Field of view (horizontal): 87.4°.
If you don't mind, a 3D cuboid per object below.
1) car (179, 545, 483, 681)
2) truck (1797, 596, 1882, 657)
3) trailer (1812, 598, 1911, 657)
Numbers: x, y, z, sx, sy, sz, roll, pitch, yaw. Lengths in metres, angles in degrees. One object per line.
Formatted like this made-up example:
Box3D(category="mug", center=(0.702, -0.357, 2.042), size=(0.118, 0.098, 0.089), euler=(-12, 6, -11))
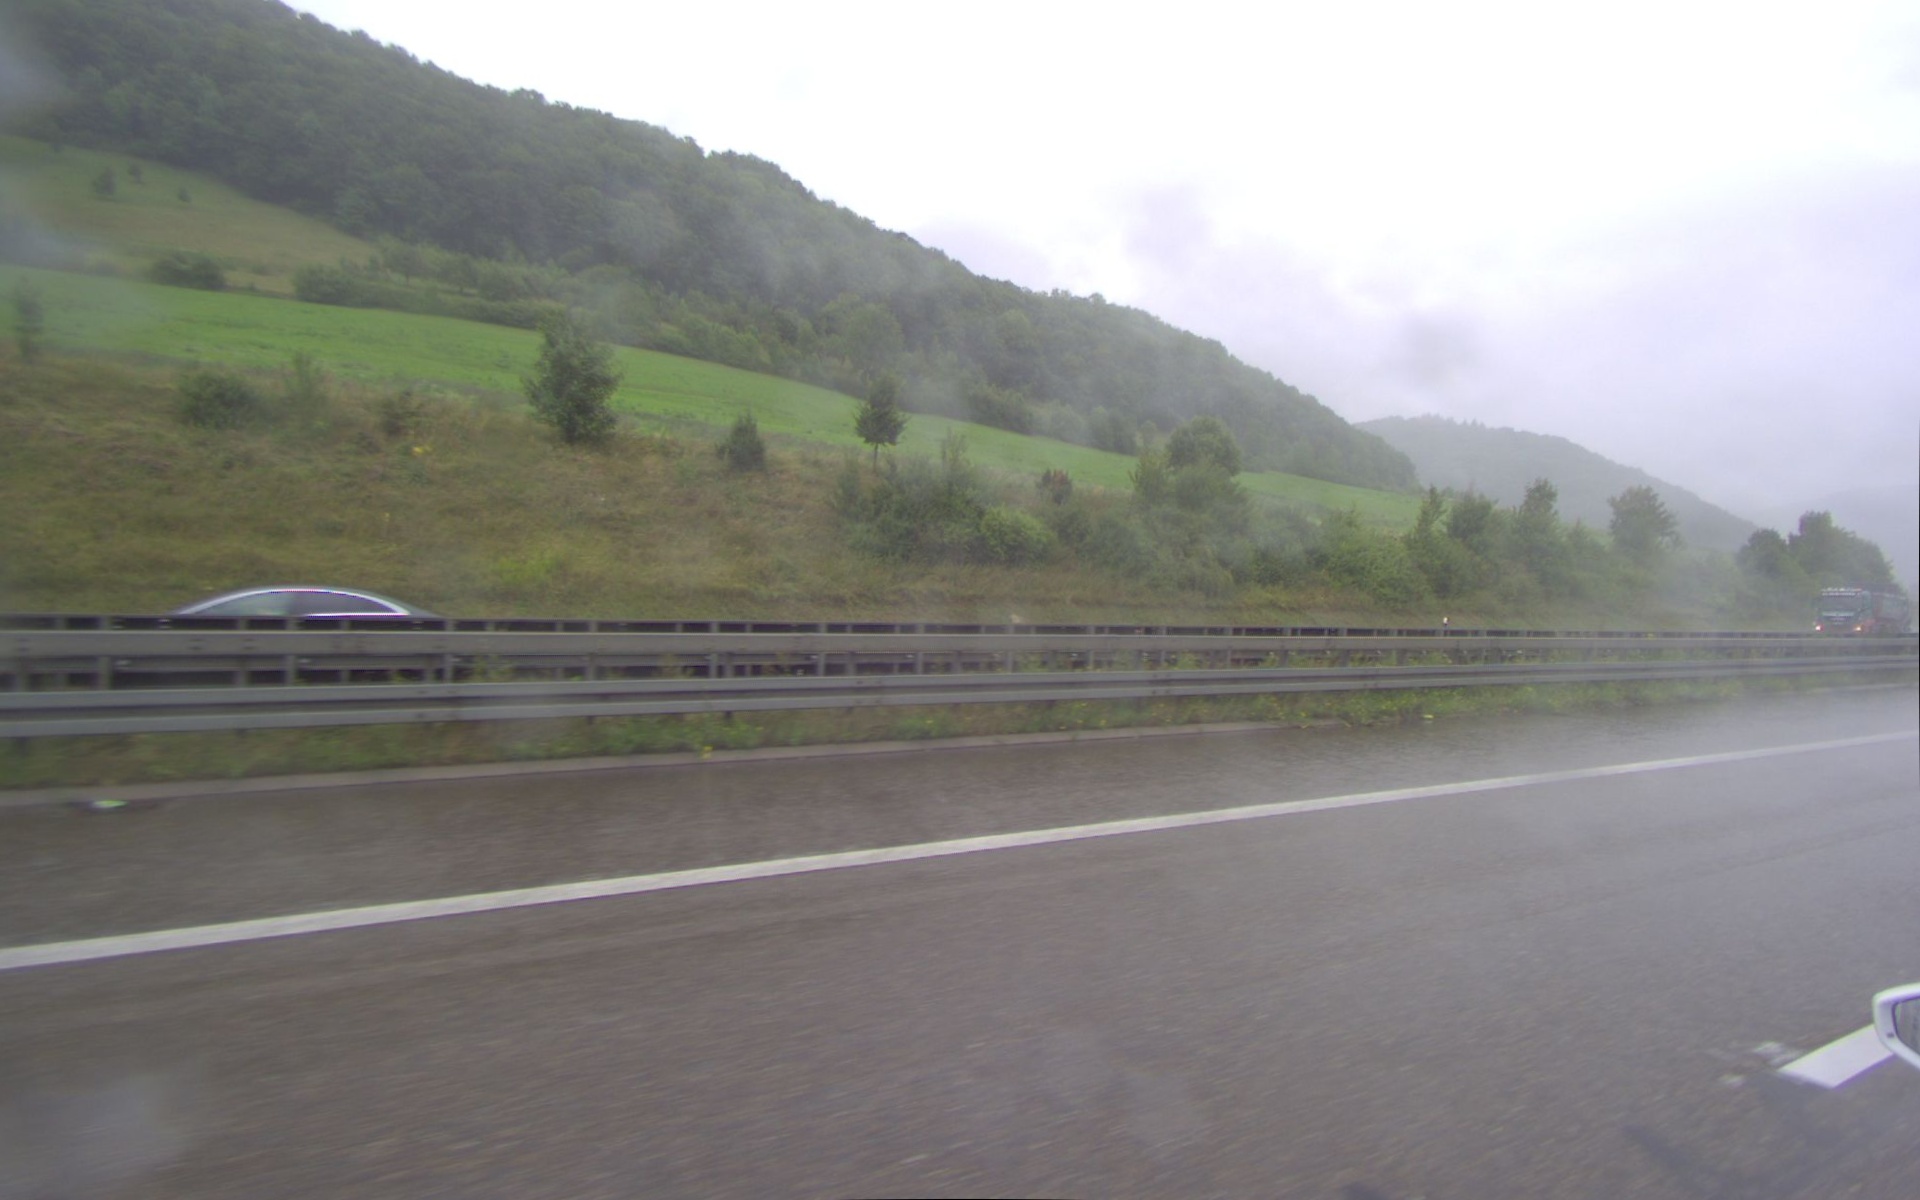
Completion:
Box3D(category="car", center=(-9.207, 0.204, 15.008), size=(3.640, 1.818, 1.671), euler=(1, 0, -30))
Box3D(category="truck", center=(53.944, 1.583, 61.592), size=(5.256, 3.589, 2.698), euler=(1, 0, -35))
Box3D(category="trailer", center=(57.797, 1.715, 64.296), size=(9.301, 3.537, 2.702), euler=(1, 0, -35))
